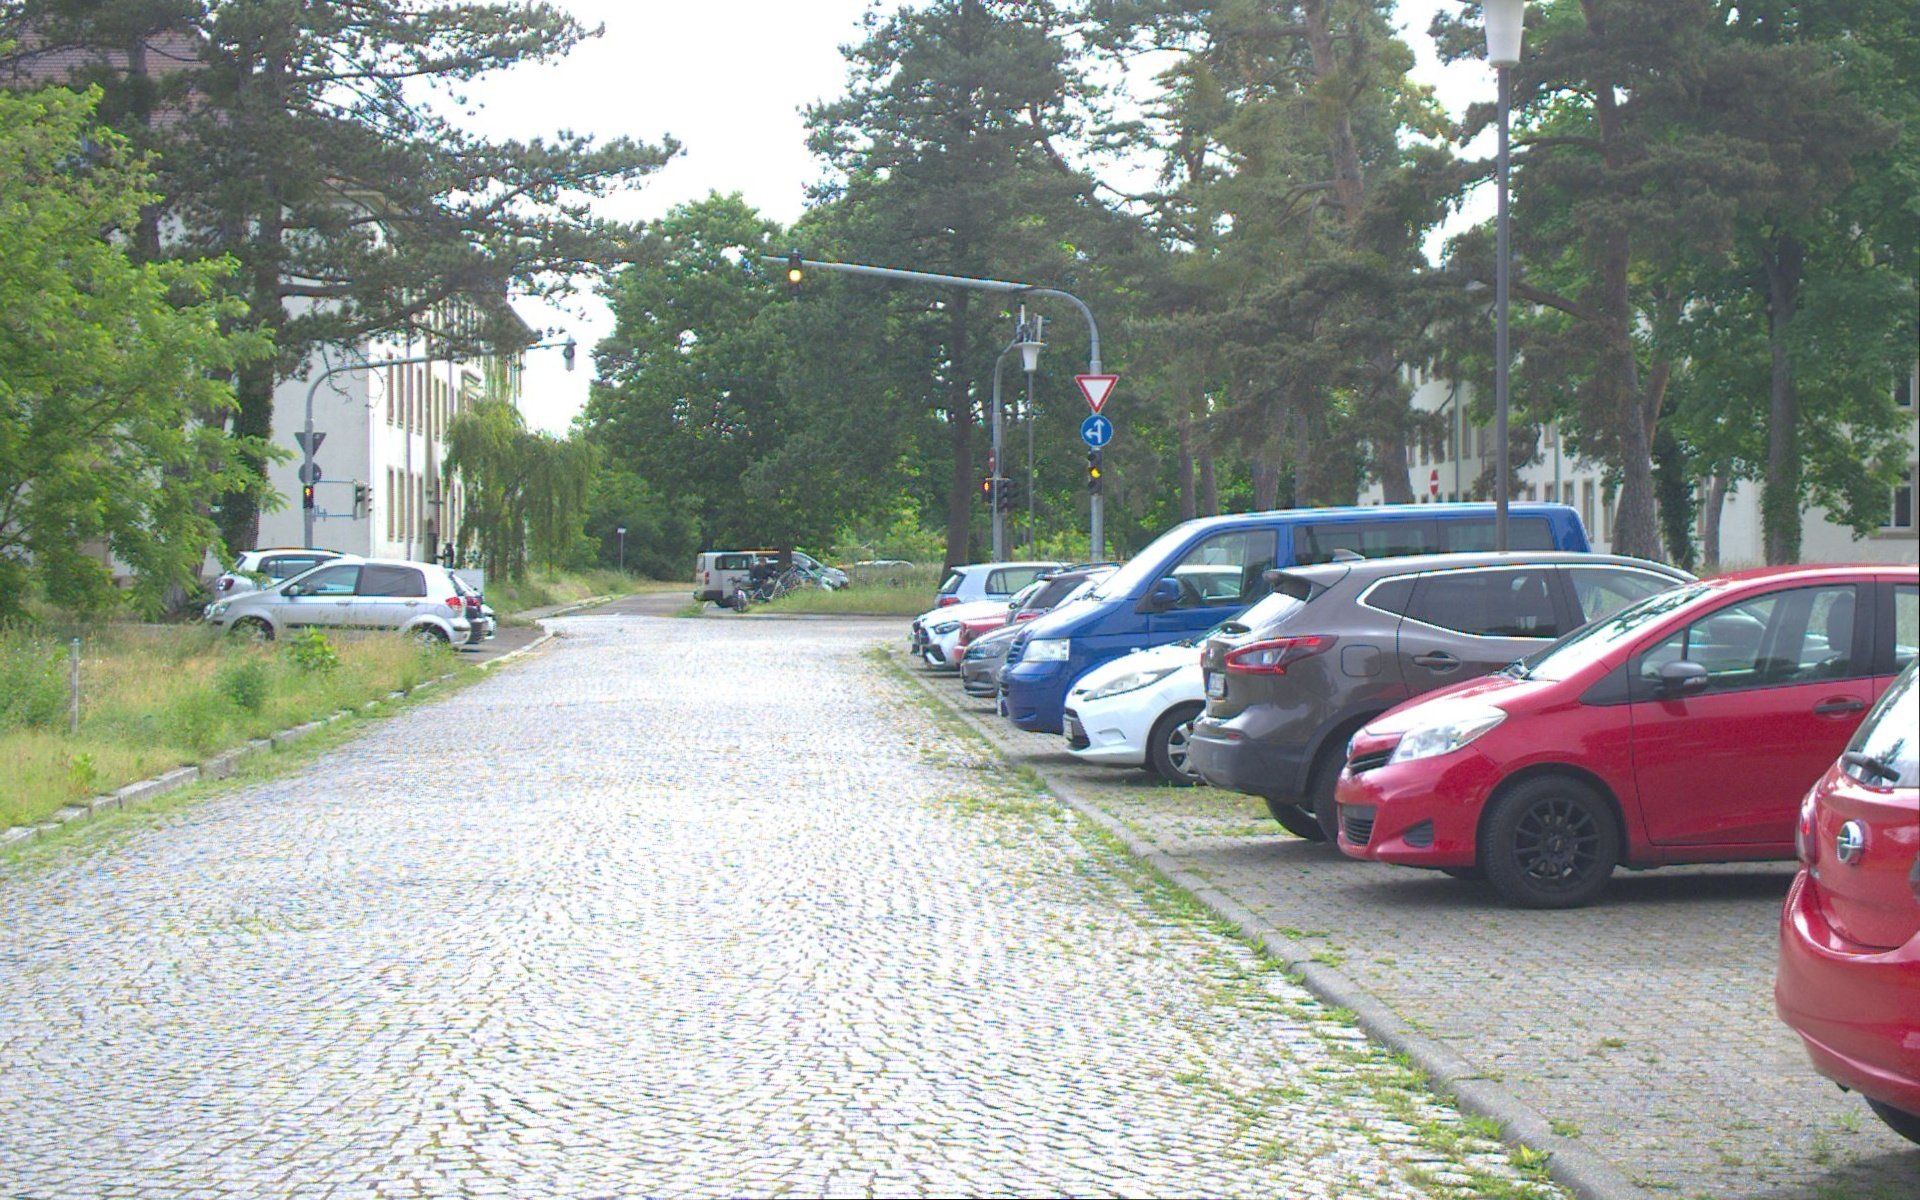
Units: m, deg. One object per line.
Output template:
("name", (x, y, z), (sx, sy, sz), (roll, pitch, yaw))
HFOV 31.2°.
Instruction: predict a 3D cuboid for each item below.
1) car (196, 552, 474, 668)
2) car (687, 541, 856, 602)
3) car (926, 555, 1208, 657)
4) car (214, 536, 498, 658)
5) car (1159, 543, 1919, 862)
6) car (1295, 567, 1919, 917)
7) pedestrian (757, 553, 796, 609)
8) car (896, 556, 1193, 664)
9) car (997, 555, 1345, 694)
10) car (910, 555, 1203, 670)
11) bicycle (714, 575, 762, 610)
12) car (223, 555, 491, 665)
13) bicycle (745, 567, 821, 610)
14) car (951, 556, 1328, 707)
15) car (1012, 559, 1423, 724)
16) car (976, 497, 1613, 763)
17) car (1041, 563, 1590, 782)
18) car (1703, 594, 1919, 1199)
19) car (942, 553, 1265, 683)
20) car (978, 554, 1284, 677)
("car", (-8.982, 0.132, 49.618), (3.821, 1.567, 1.565), (-1, 0, -6))
("car", (-6.469, -0.969, 117.760), (5.444, 2.007, 2.269), (1, 0, -12))
("car", (1.573, 0.079, 51.252), (3.967, 1.416, 1.620), (-1, 0, -7))
("car", (-9.623, -0.055, 54.995), (4.262, 1.834, 1.744), (-1, 0, -4))
("car", (3.216, 0.508, 18.526), (4.028, 1.547, 1.751), (-1, 0, -6))
("car", (3.581, 0.599, 15.891), (3.791, 1.455, 1.751), (-1, 0, -3))
("pedestrian", (-5.355, -0.547, 100.228), (1.033, 1.608, 0.758), (1, 0, -8))
("car", (1.167, 0.128, 48.576), (3.967, 1.416, 1.620), (-1, 0, -7))
("car", (2.337, 0.261, 38.524), (3.671, 1.444, 1.524), (-1, 0, -5))
("car", (1.257, 0.157, 45.721), (3.671, 1.416, 1.524), (-1, 0, -7))
("bicycle", (-6.190, -0.216, 95.767), (0.620, 0.942, 1.663), (1, 1, -31))
("car", (-9.089, 0.141, 52.033), (3.821, 1.567, 1.564), (-1, 0, -4))
("bicycle", (-5.136, -0.343, 99.898), (2.136, 1.210, 0.622), (1, 0, -8))
("car", (1.821, 0.312, 35.504), (3.671, 1.444, 1.524), (-1, 0, -5))
("car", (2.416, 0.378, 32.753), (3.671, 1.444, 1.524), (-1, 0, -5))
("car", (2.604, 0.216, 27.475), (4.753, 1.948, 1.932), (-1, 0, -5))
("car", (2.520, 0.498, 24.876), (3.671, 1.444, 1.615), (-1, 0, -6))
("car", (3.942, 0.689, 8.309), (3.825, 1.455, 1.779), (-1, 0, -4))
("car", (1.691, 0.207, 41.200), (3.671, 1.444, 1.524), (-1, 0, -5))
("car", (2.138, 0.185, 43.512), (3.671, 1.444, 1.524), (-1, 0, -5))
